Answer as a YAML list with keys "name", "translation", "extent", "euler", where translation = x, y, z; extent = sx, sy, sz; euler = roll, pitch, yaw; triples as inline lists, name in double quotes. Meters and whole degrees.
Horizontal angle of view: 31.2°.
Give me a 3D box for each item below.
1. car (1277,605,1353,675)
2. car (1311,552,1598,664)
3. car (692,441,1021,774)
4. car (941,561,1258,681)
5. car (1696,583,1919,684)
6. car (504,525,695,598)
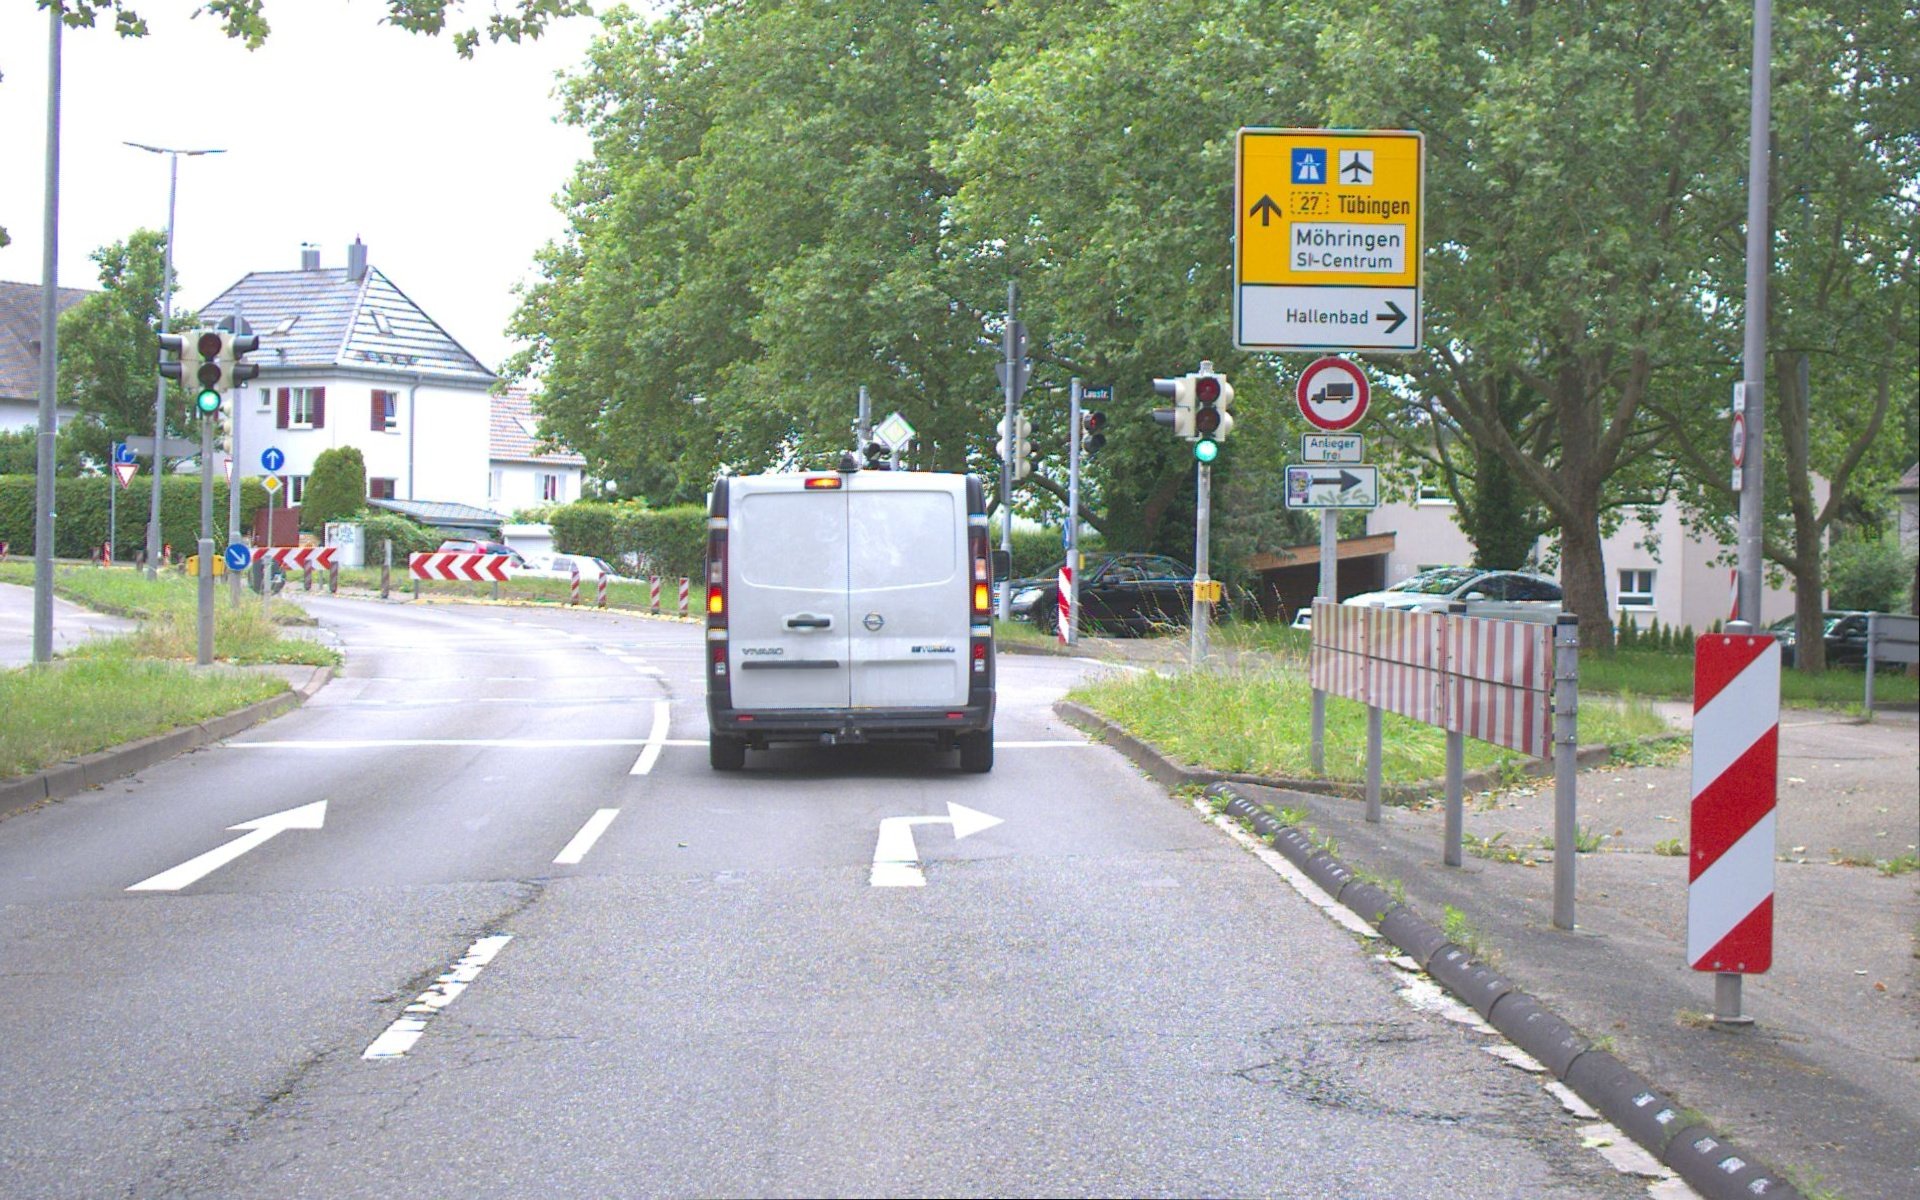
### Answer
- name: "car"
  translation: [9.544, 1.069, 92.583]
  extent: [1.908, 1.738, 3.770]
  euler: [2, 1, 5]
- name: "car"
  translation: [8.459, 0.146, 58.625]
  extent: [4.730, 1.763, 2.000]
  euler: [1, 1, -36]
- name: "car"
  translation: [-0.779, 0.021, 23.882]
  extent: [2.006, 2.031, 5.011]
  euler: [1, 1, -3]
- name: "car"
  translation: [2.236, 0.339, 54.325]
  extent: [4.730, 1.763, 2.000]
  euler: [1, 1, -36]
- name: "car"
  translation: [16.105, 0.634, 63.976]
  extent: [4.730, 1.763, 2.000]
  euler: [1, 1, -36]
- name: "car"
  translation: [-9.506, -1.019, 90.556]
  extent: [4.738, 1.763, 1.996]
  euler: [2, 1, 33]
